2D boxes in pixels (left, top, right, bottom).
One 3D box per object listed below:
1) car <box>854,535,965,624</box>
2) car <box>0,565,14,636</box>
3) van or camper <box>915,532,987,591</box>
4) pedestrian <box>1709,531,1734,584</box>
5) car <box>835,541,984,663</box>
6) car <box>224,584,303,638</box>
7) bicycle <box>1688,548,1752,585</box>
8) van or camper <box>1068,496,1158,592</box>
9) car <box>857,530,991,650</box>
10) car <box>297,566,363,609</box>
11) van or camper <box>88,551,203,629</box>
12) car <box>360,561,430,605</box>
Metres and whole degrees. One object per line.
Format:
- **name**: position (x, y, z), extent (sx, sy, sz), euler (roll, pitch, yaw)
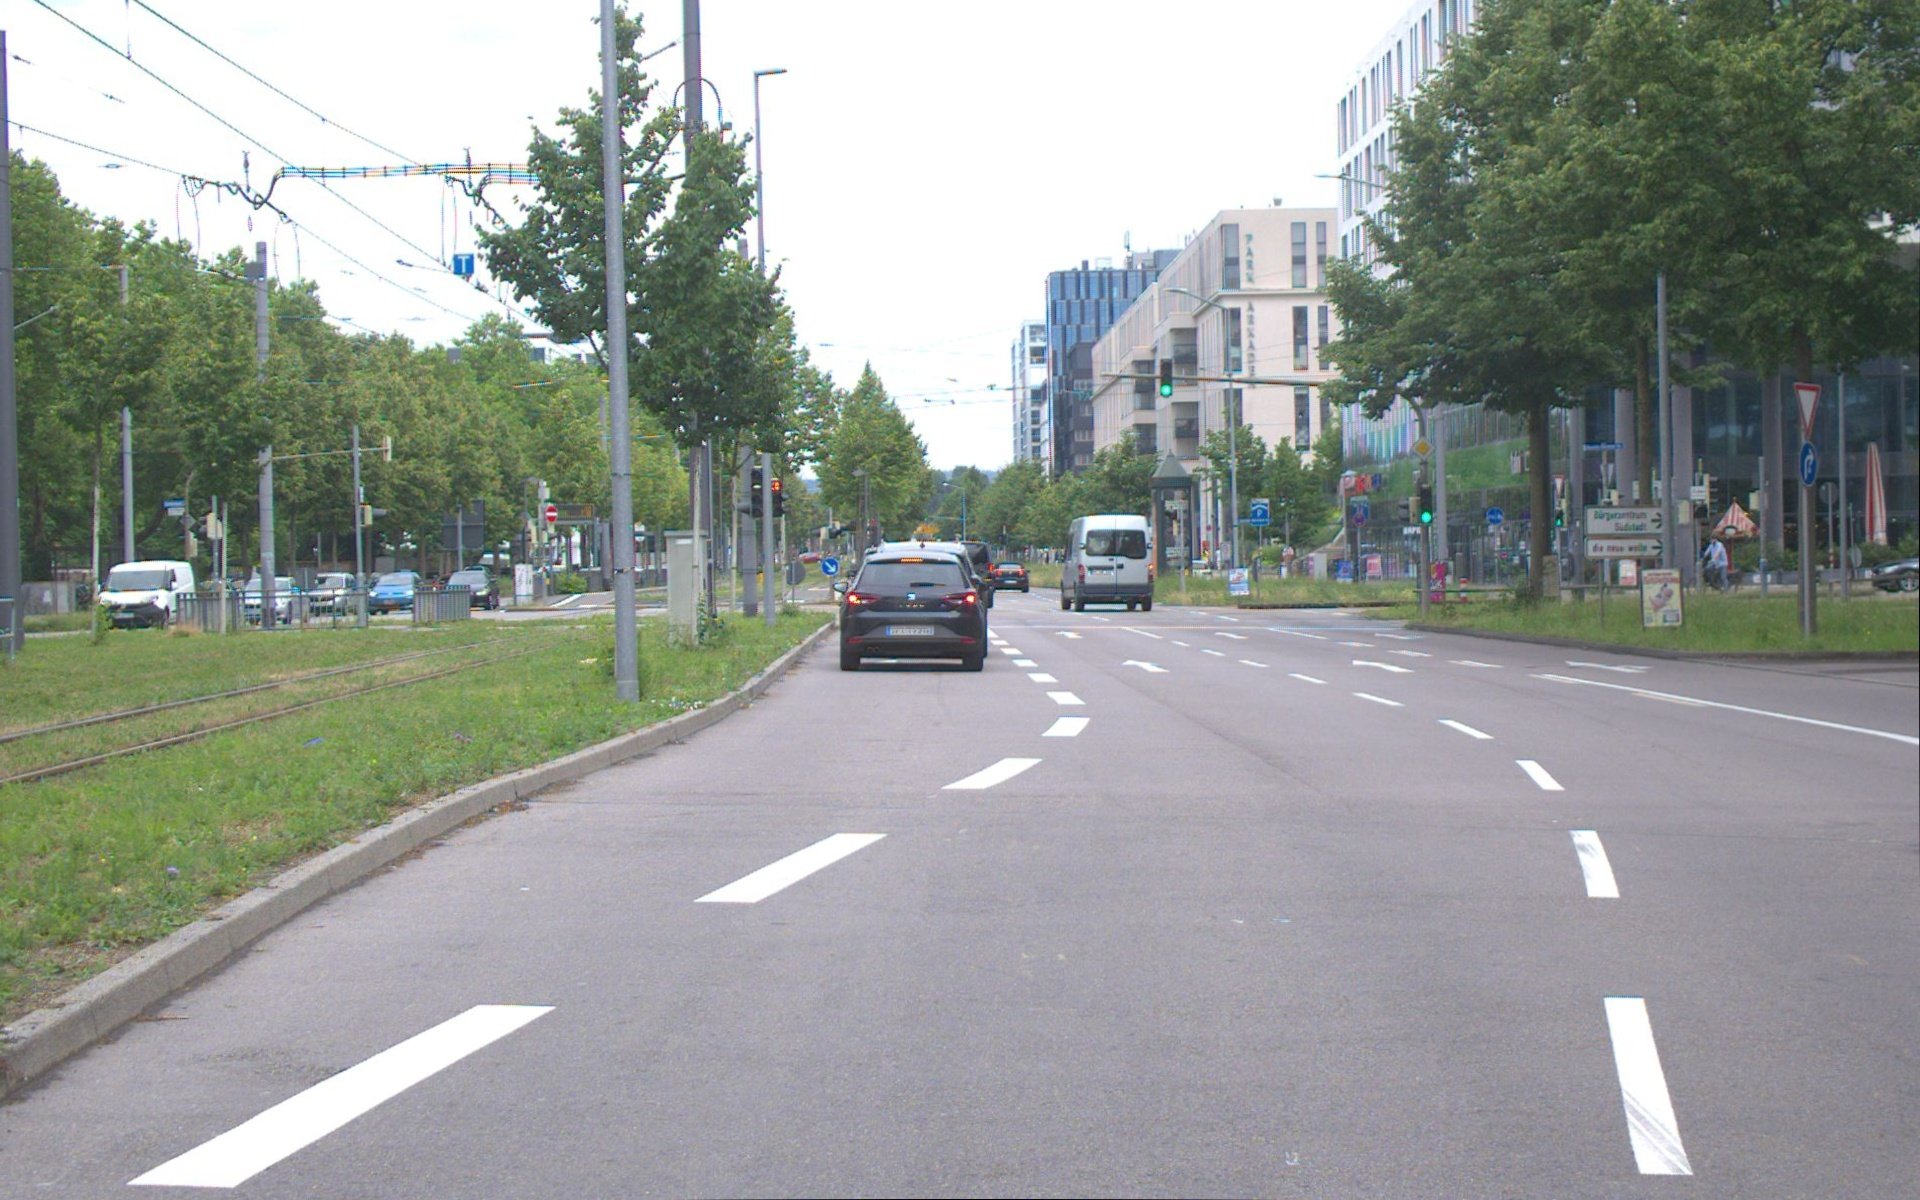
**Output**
- **car**: position (-0.965, -0.410, 67.605), extent (1.993, 1.676, 4.000), euler (1, 1, 2)
- **car**: position (-21.006, 0.052, 70.912), extent (1.762, 1.474, 4.573), euler (-2, 1, -1)
- **van or camper**: position (-0.247, -1.129, 98.358), extent (1.993, 1.610, 4.789), euler (0, 2, 0)
- **pedestrian**: position (22.884, -1.276, 103.316), extent (0.614, 1.599, 0.618), euler (-1, 0, 2)
- **car**: position (-0.642, -0.002, 42.411), extent (1.743, 1.412, 4.000), euler (1, 1, -1)
- **car**: position (-21.126, 0.317, 104.421), extent (1.728, 1.440, 4.923), euler (-3, 1, -5)
- **bicycle**: position (22.845, -1.008, 103.325), extent (1.792, 1.082, 0.618), euler (-1, 0, 2)
- **van or camper**: position (3.943, -1.494, 89.338), extent (2.109, 2.348, 4.923), euler (0, 2, 0)
- **car**: position (-0.505, -0.157, 48.804), extent (1.802, 1.619, 4.000), euler (-1, 1, -1)
- **car**: position (-23.918, -0.463, 130.581), extent (1.796, 1.565, 4.579), euler (2, 0, -3)
- **van or camper**: position (-21.066, -0.278, 89.132), extent (1.889, 1.894, 5.125), euler (-2, 1, -2)
- **car**: position (-21.058, -0.648, 128.317), extent (1.964, 1.583, 4.689), euler (0, 1, -2)
